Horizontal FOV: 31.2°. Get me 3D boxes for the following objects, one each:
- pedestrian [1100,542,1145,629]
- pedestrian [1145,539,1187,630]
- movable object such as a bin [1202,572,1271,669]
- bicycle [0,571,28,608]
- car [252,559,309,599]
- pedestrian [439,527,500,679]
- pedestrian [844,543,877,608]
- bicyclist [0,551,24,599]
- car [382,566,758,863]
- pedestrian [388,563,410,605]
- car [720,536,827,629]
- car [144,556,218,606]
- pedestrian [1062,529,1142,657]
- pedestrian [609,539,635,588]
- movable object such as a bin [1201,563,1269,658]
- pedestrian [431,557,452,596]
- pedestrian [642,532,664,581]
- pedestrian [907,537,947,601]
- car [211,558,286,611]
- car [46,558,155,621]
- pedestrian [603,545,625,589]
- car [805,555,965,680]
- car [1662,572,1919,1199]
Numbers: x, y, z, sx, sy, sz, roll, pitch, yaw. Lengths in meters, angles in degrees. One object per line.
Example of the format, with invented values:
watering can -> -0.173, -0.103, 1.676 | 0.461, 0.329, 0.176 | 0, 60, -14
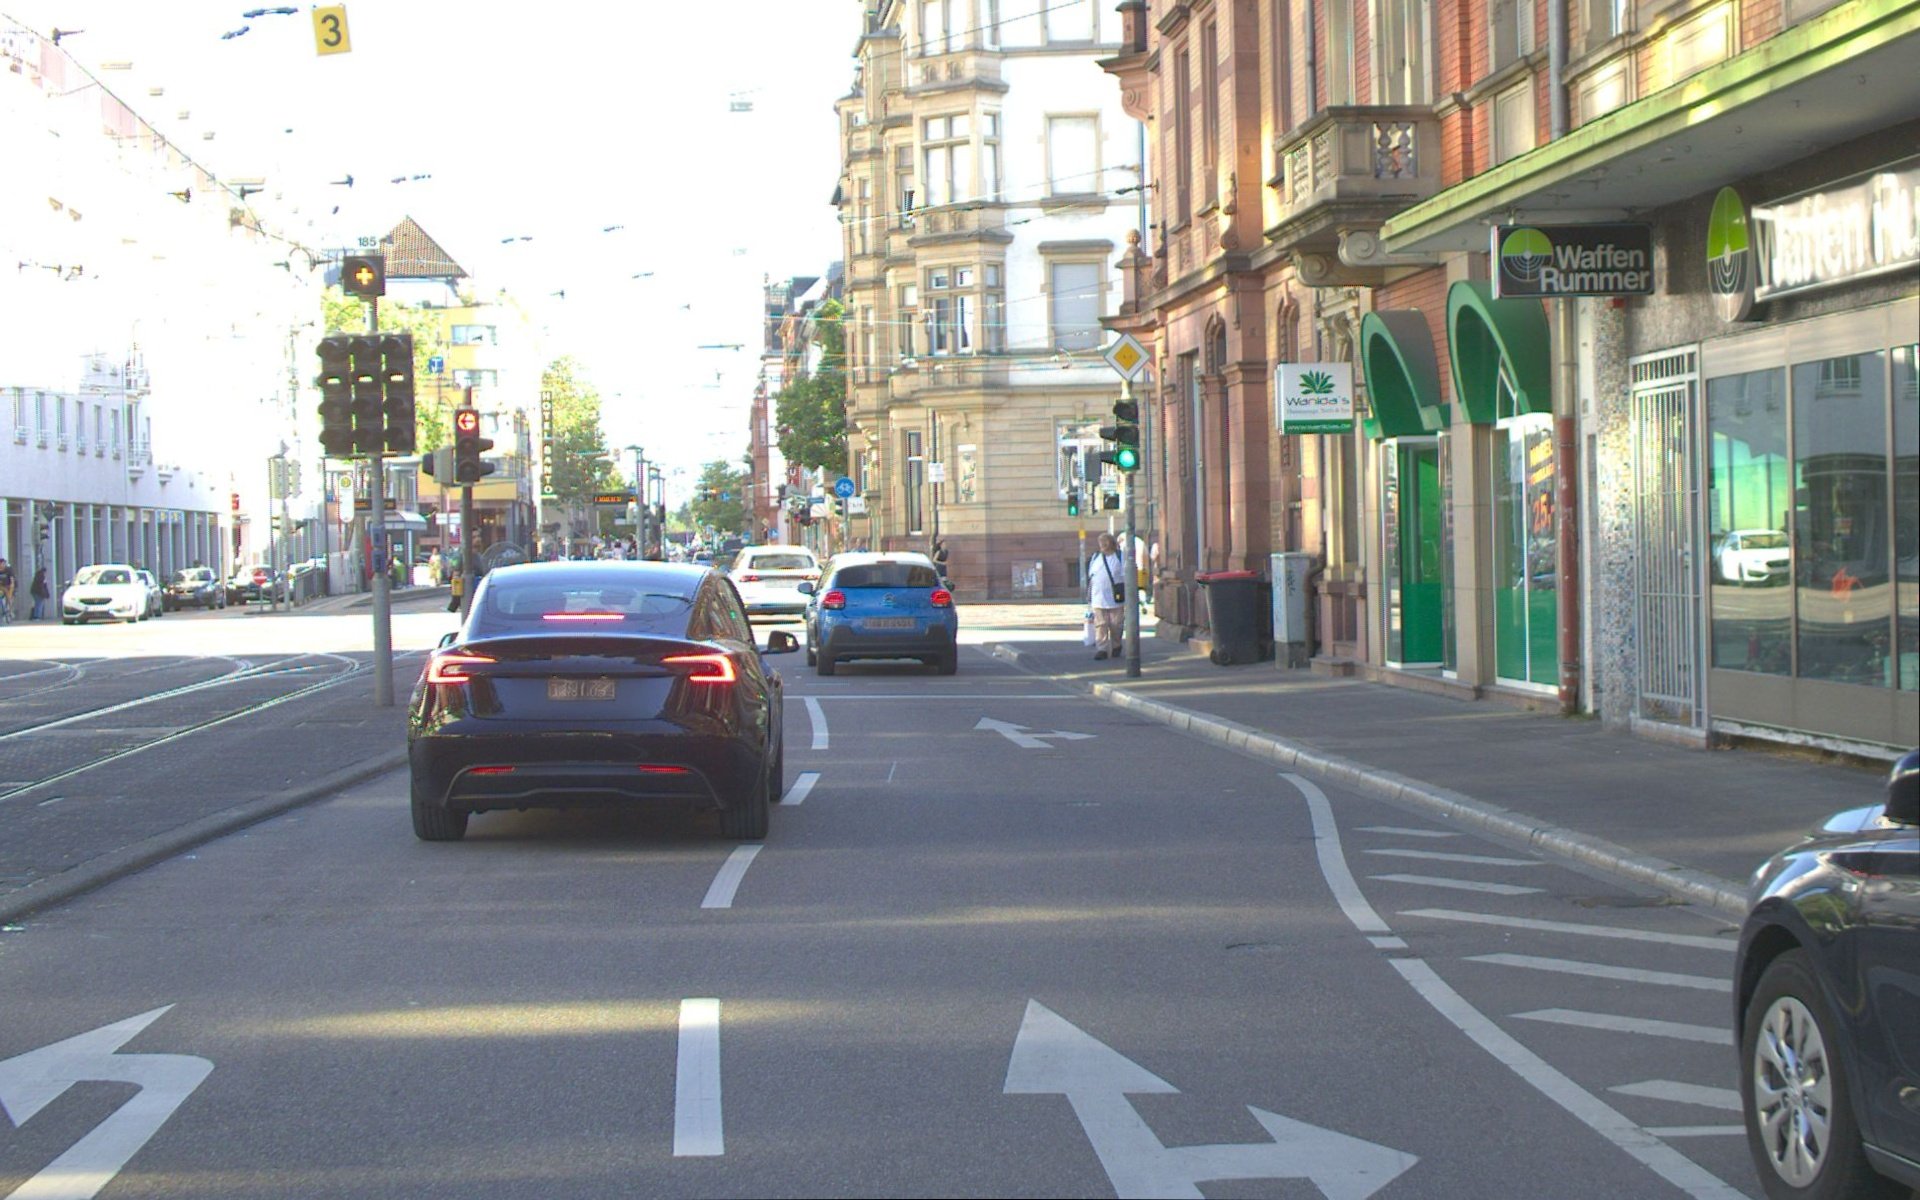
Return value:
pedestrian -> 3.140, -0.274, 66.421 | 0.701, 1.649, 0.631 | -2, 0, 18
pedestrian -> 3.979, -0.297, 66.438 | 0.644, 1.739, 0.705 | 0, 0, 17
movable object such as a bin -> 3.223, 0.238, 40.119 | 0.663, 1.069, 0.591 | -4, 1, -2
bicycle -> -25.501, -0.280, 92.245 | 0.594, 0.969, 1.818 | -2, 0, -4
car -> -26.754, -0.830, 135.526 | 1.728, 1.509, 4.405 | -1, 1, -5
pedestrian -> -5.828, 0.029, 40.873 | 0.558, 1.757, 0.895 | -3, 1, -4
pedestrian -> -2.747, -0.683, 94.673 | 0.779, 1.743, 1.093 | -1, 3, -7
bicyclist -> -25.521, -0.667, 92.197 | 0.588, 1.281, 0.927 | -2, 0, -4
car -> -2.062, 0.541, 18.807 | 1.810, 1.419, 4.154 | 0, 1, -5
pedestrian -> -20.705, -0.587, 126.830 | 0.731, 1.522, 0.743 | -1, 2, -5
car -> -3.626, -0.322, 66.331 | 1.993, 1.737, 4.000 | 0, 0, -4
car -> -26.323, -0.633, 116.255 | 1.993, 1.590, 4.001 | -2, 0, -6
pedestrian -> 1.817, -0.089, 43.954 | 0.681, 1.602, 0.731 | -2, 1, -35
pedestrian -> -12.240, -1.327, 124.508 | 0.718, 1.771, 0.564 | -1, 1, 32
movable object such as a bin -> 3.255, 0.122, 40.726 | 0.663, 1.069, 0.545 | -4, 1, -2
pedestrian -> -20.535, -0.934, 136.171 | 0.731, 1.553, 0.743 | -1, 2, -5
pedestrian -> -10.707, -1.516, 119.872 | 0.636, 1.692, 0.933 | 0, 0, 3
pedestrian -> -0.855, -0.813, 89.577 | 0.922, 1.626, 0.942 | -2, 0, 4
car -> -26.643, -0.599, 128.817 | 2.226, 1.904, 4.610 | -1, 1, -5
car -> -21.387, -0.290, 85.695 | 1.993, 1.446, 4.503 | -1, 1, -6
pedestrian -> -12.528, -1.203, 124.429 | 0.586, 1.556, 0.469 | -1, 1, 32
car -> -0.959, 0.179, 42.306 | 1.781, 1.446, 3.655 | 0, 1, -4
car -> 2.741, 0.699, 6.286 | 1.690, 1.446, 4.360 | 0, 1, -5
